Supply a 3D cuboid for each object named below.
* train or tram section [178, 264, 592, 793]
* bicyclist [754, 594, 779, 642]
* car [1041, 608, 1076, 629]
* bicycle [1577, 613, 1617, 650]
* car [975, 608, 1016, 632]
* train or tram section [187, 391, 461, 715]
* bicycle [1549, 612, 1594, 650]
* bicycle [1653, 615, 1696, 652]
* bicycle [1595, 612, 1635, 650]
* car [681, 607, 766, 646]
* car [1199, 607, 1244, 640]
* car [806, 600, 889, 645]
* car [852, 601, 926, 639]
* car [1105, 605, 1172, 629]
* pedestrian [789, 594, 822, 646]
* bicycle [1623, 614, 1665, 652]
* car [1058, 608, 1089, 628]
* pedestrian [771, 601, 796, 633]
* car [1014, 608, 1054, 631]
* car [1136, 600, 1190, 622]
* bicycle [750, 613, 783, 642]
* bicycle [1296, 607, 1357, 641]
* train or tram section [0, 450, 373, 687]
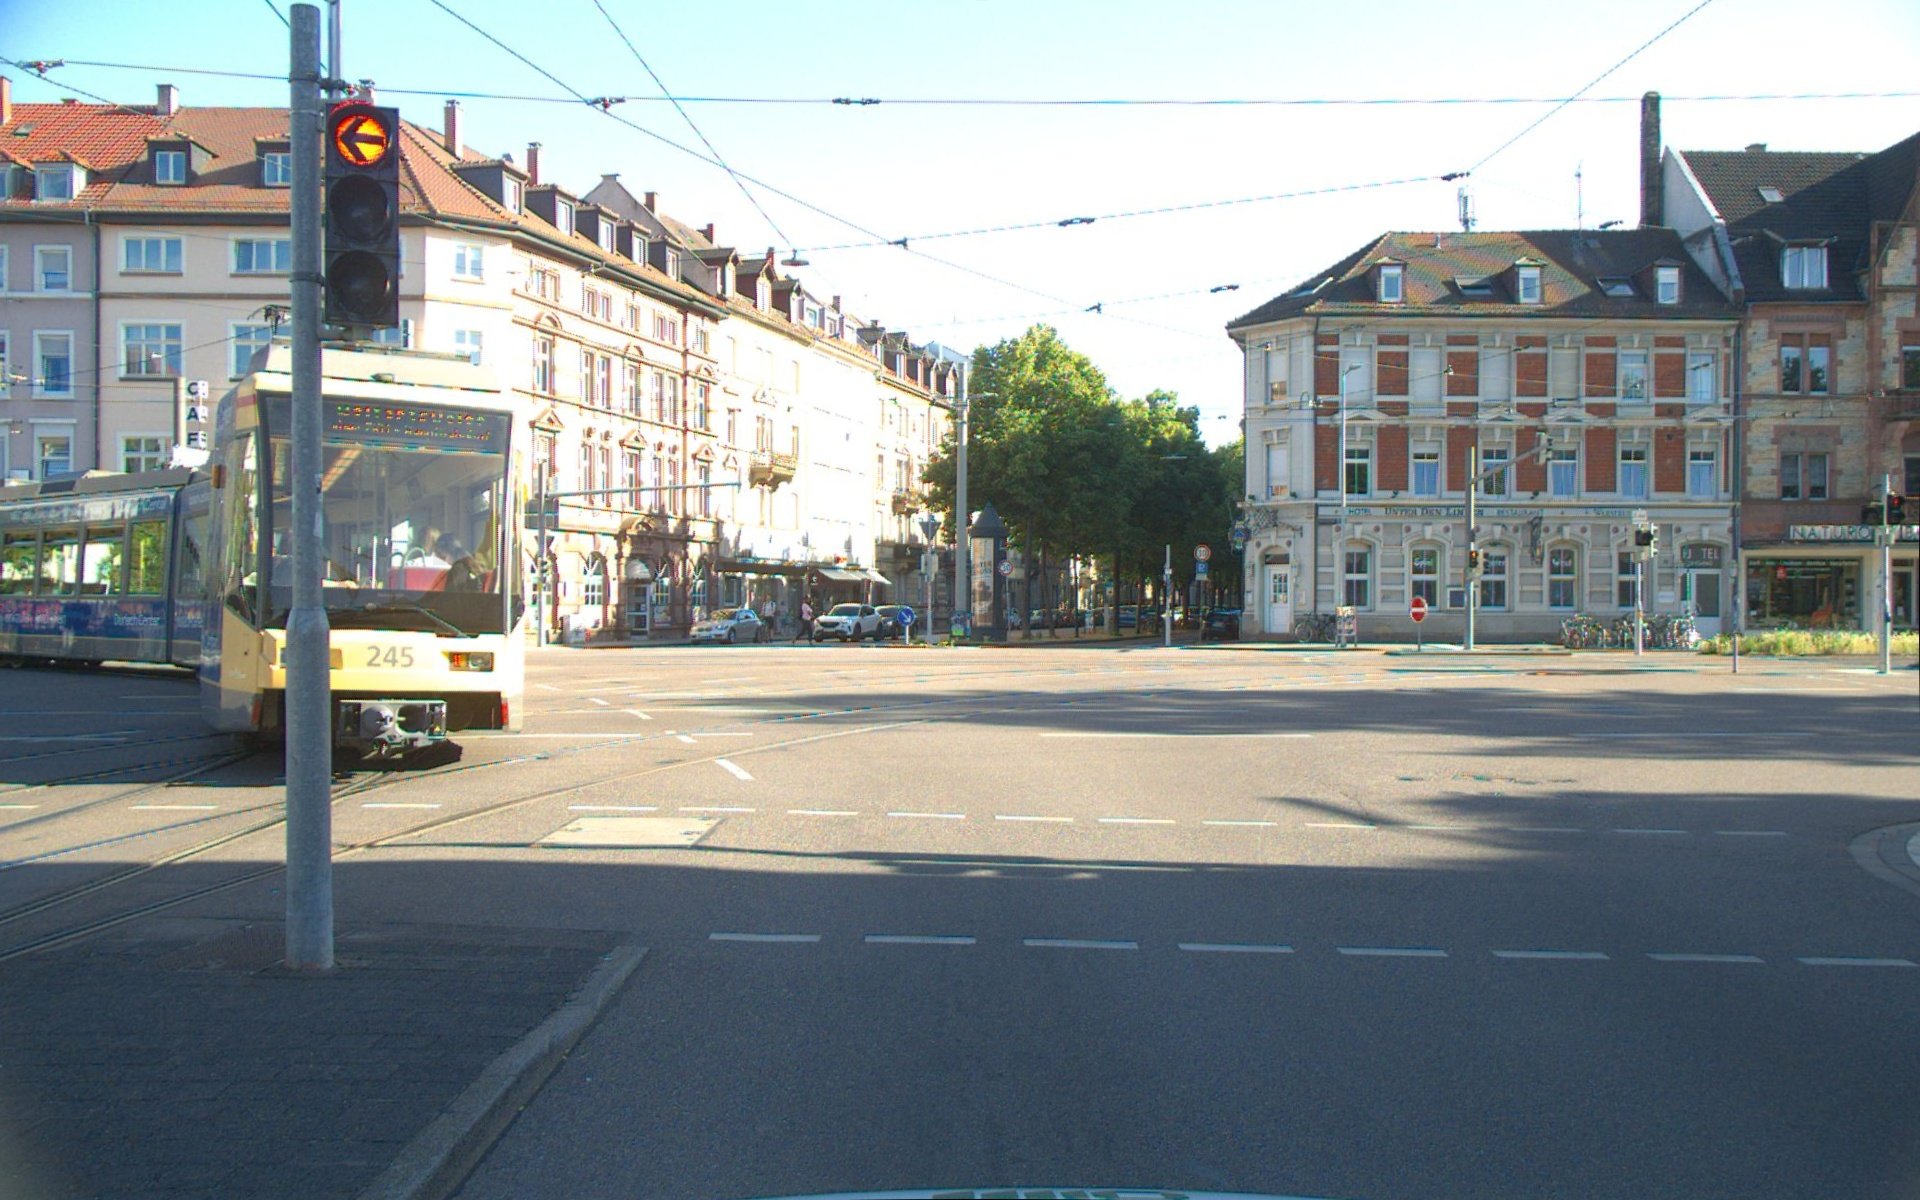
[{"bbox_3d":[-5.533,-0.509,15.349,2.777,3.561,7.905,0,0,-23],"label":"train or tram section"},{"bbox_3d":[-7.579,0.695,64.919,0.664,1.852,1.071,0,0,12],"label":"bicyclist"},{"bbox_3d":[7.794,1.420,130.548,1.798,1.579,4.393,0,0,16],"label":"car"},{"bbox_3d":[20.597,1.000,53.523,0.605,1.163,2.175,0,0,4],"label":"bicycle"},{"bbox_3d":[2.424,1.324,110.977,1.951,1.512,4.003,0,0,13],"label":"car"},{"bbox_3d":[-8.954,-0.543,22.618,2.780,3.561,8.390,0,0,-26],"label":"train or tram section"},{"bbox_3d":[19.826,0.990,53.642,0.789,1.163,2.175,0,0,4],"label":"bicycle"},{"bbox_3d":[23.041,1.060,53.382,0.596,1.156,2.136,0,0,4],"label":"bicycle"},{"bbox_3d":[21.169,0.995,53.493,0.605,1.163,2.175,0,0,4],"label":"bicycle"},{"bbox_3d":[-9.520,1.037,66.887,1.858,1.481,4.002,0,0,17],"label":"car"},{"bbox_3d":[13.078,1.160,82.619,1.951,1.613,4.003,0,0,13],"label":"car"},{"bbox_3d":[-4.536,0.885,67.240,1.951,1.713,4.393,0,0,17],"label":"car"},{"bbox_3d":[-3.141,0.863,73.775,1.951,1.640,4.393,0,0,17],"label":"car"},{"bbox_3d":[12.463,1.195,115.595,4.290,1.640,1.998,0,0,26],"label":"car"},{"bbox_3d":[-5.384,0.685,57.587,1.028,1.774,0.806,0,0,-13],"label":"pedestrian"},{"bbox_3d":[22.077,1.057,53.434,0.605,1.163,2.175,0,0,4],"label":"bicycle"},{"bbox_3d":[9.407,1.459,136.449,1.727,1.576,4.394,0,0,16],"label":"car"},{"bbox_3d":[-8.696,0.844,81.481,0.908,1.562,1.138,0,0,13],"label":"pedestrian"},{"bbox_3d":[5.540,1.423,122.724,1.951,1.640,4.393,0,0,17],"label":"car"},{"bbox_3d":[16.432,0.882,133.857,3.912,1.736,1.996,0,0,30],"label":"car"},{"bbox_3d":[-7.590,1.083,64.877,0.665,1.085,2.127,0,0,12],"label":"bicycle"},{"bbox_3d":[12.756,0.820,57.568,2.045,1.144,0.366,1,-1,-5],"label":"bicycle"},{"bbox_3d":[-14.976,-0.498,29.750,11.805,3.561,2.765,0,0,40],"label":"train or tram section"}]
